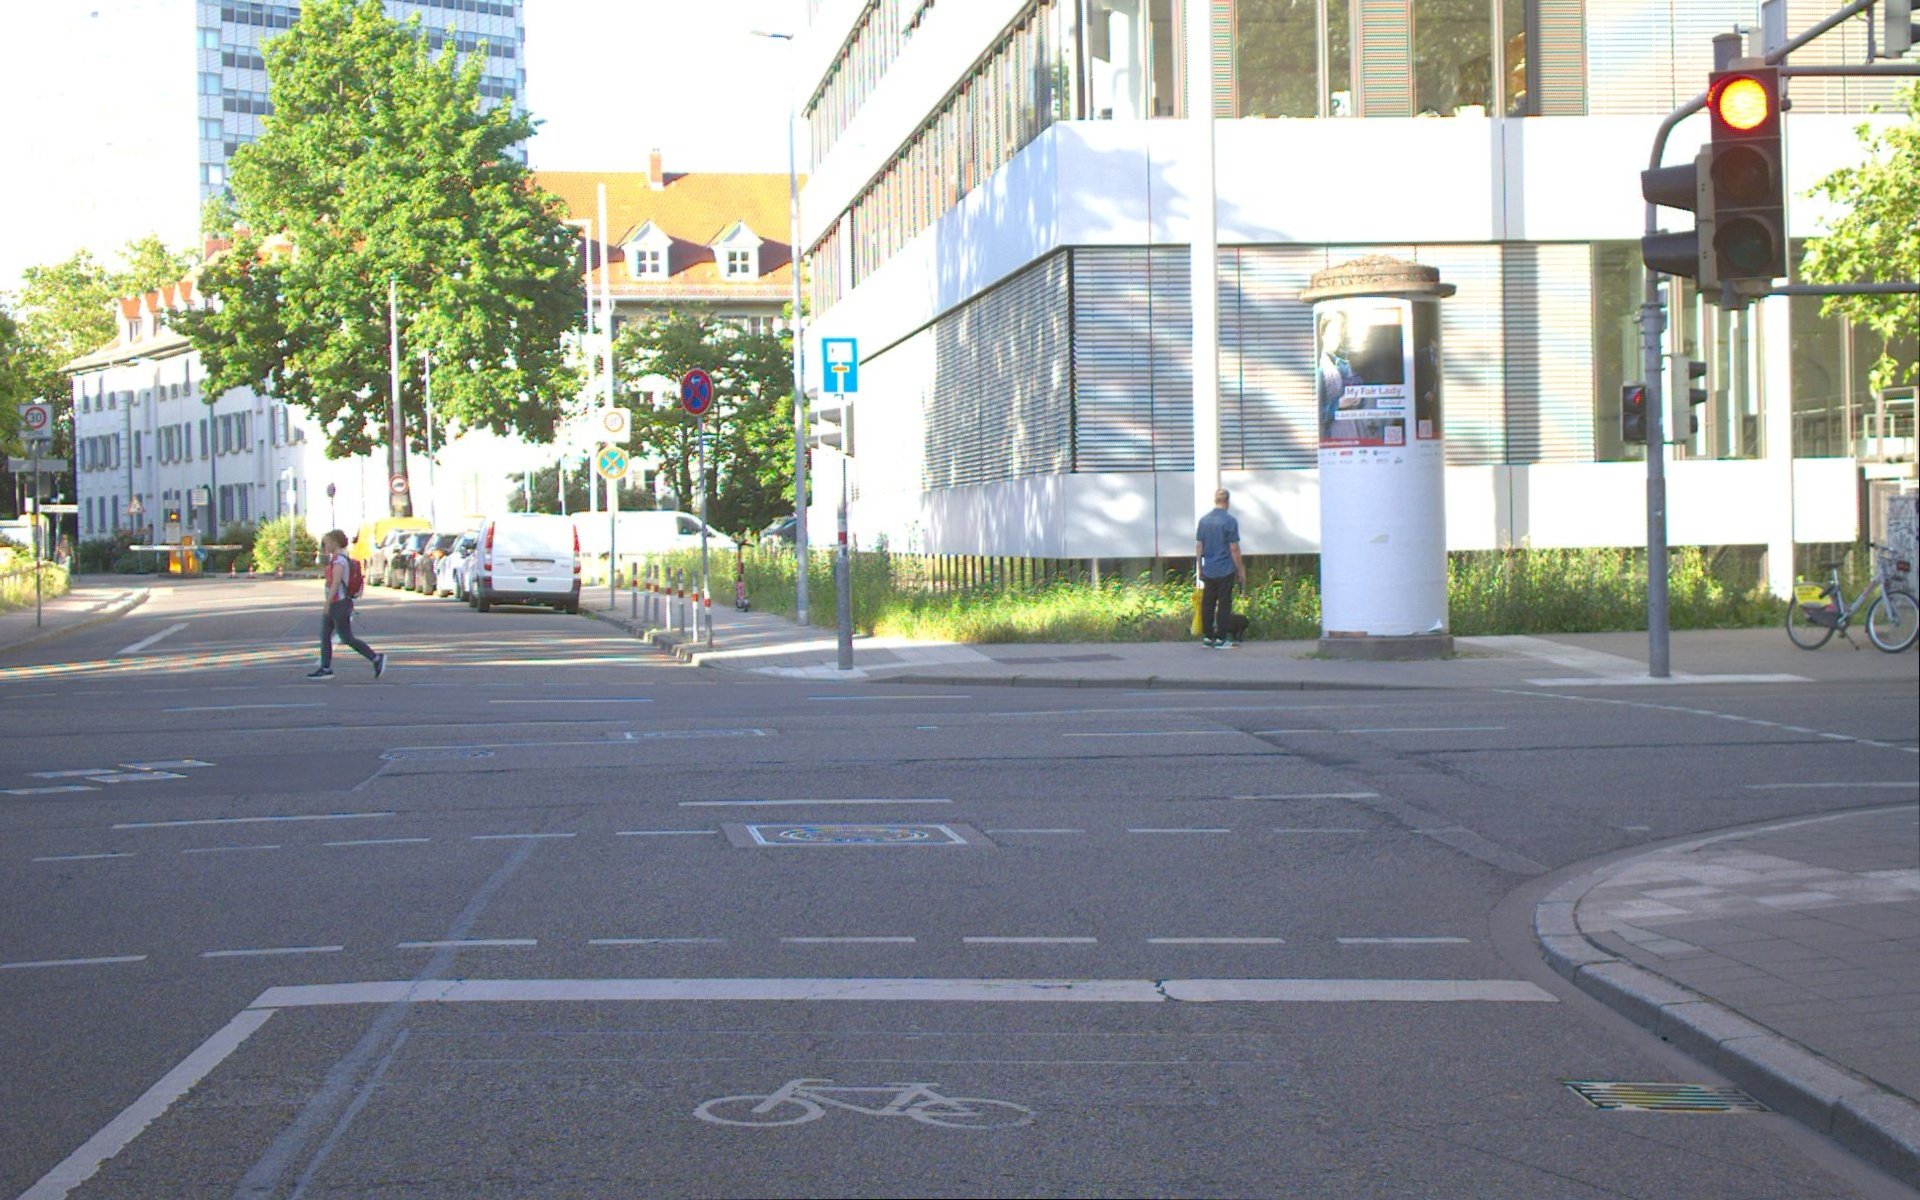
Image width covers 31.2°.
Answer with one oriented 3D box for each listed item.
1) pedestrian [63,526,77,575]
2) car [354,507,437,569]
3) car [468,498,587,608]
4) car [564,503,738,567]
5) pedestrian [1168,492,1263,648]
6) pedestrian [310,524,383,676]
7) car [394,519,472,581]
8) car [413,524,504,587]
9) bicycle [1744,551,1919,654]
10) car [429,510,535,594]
[{"bbox_3d":[-28.138,-1.559,108.717,0.380,1.529,0.446,-1,1,-12],"label":"pedestrian"},{"bbox_3d":[-15.734,-1.722,95.647,2.100,1.652,4.477,-1,1,-11],"label":"car"},{"bbox_3d":[-8.164,-0.905,64.635,2.066,1.956,4.239,-1,1,-9],"label":"car"},{"bbox_3d":[-9.256,-1.935,102.835,4.880,1.865,2.001,0,0,-16],"label":"car"},{"bbox_3d":[2.886,-0.345,38.842,0.811,1.730,0.653,0,2,45],"label":"pedestrian"},{"bbox_3d":[-6.529,-0.004,36.630,0.711,1.594,0.617,-1,1,-8],"label":"pedestrian"},{"bbox_3d":[-13.184,-1.262,85.830,1.703,1.459,4.239,-1,1,-11],"label":"car"},{"bbox_3d":[-11.890,-1.071,81.343,1.703,1.419,4.239,-1,1,-14],"label":"car"},{"bbox_3d":[9.181,0.021,36.109,0.463,1.045,1.914,-2,2,-42],"label":"bicycle"},{"bbox_3d":[-10.666,-1.092,76.553,1.946,1.789,4.239,-1,1,-13],"label":"car"}]
